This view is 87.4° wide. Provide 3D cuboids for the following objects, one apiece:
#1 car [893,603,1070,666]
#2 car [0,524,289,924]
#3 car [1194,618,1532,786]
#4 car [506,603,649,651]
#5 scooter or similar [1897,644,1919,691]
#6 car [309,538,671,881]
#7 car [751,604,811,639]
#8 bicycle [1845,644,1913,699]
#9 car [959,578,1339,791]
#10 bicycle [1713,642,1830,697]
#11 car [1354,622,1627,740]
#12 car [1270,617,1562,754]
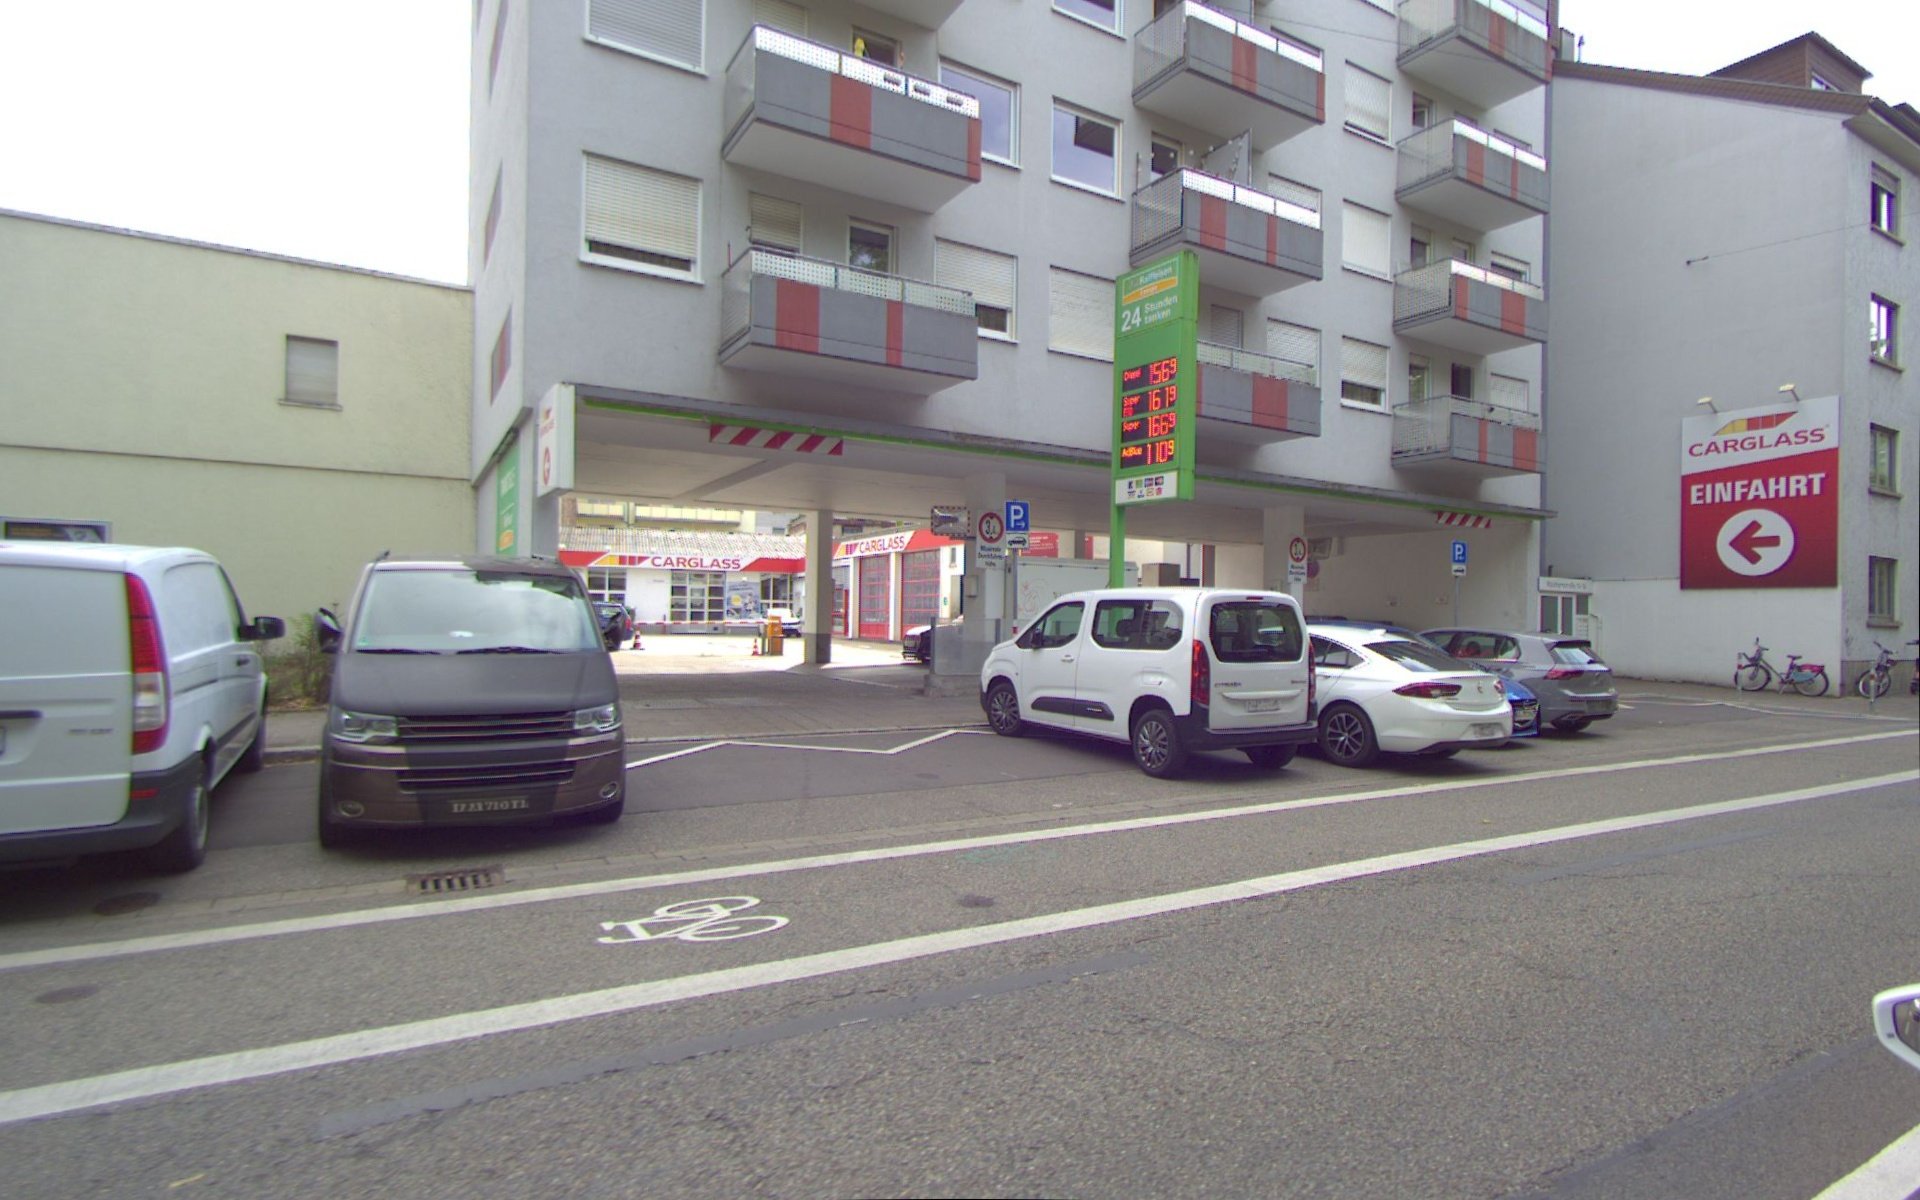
[{"bbox_3d":[0.544,0.829,24.358,3.953,1.416,1.771,1,-1,-30],"label":"car"},{"bbox_3d":[-5.876,0.527,6.605,2.022,1.904,4.506,1,1,-29],"label":"car"},{"bbox_3d":[4.488,1.041,11.610,1.578,1.517,3.325,2,0,-32],"label":"car"},{"bbox_3d":[-11.900,0.846,31.287,3.953,1.416,1.771,1,-1,-30],"label":"car"},{"bbox_3d":[22.296,1.578,23.162,1.997,1.047,0.626,4,-1,-37],"label":"scooter or similar"},{"bbox_3d":[-4.010,0.558,8.252,1.977,1.929,4.891,1,1,-30],"label":"car"},{"bbox_3d":[-9.126,1.069,50.886,1.797,1.650,3.969,1,-1,-29],"label":"car"},{"bbox_3d":[19.815,1.527,21.653,1.994,1.048,0.627,0,1,-34],"label":"bicycle"},{"bbox_3d":[1.885,0.746,11.379,1.803,1.895,4.284,2,1,-31],"label":"car"},{"bbox_3d":[17.869,1.509,22.166,0.405,1.048,2.000,0,1,-28],"label":"bicycle"},{"bbox_3d":[7.834,1.121,15.095,1.487,1.421,3.325,2,0,-31],"label":"car"},{"bbox_3d":[6.117,1.060,13.806,1.578,1.517,3.325,2,0,-32],"label":"car"}]
